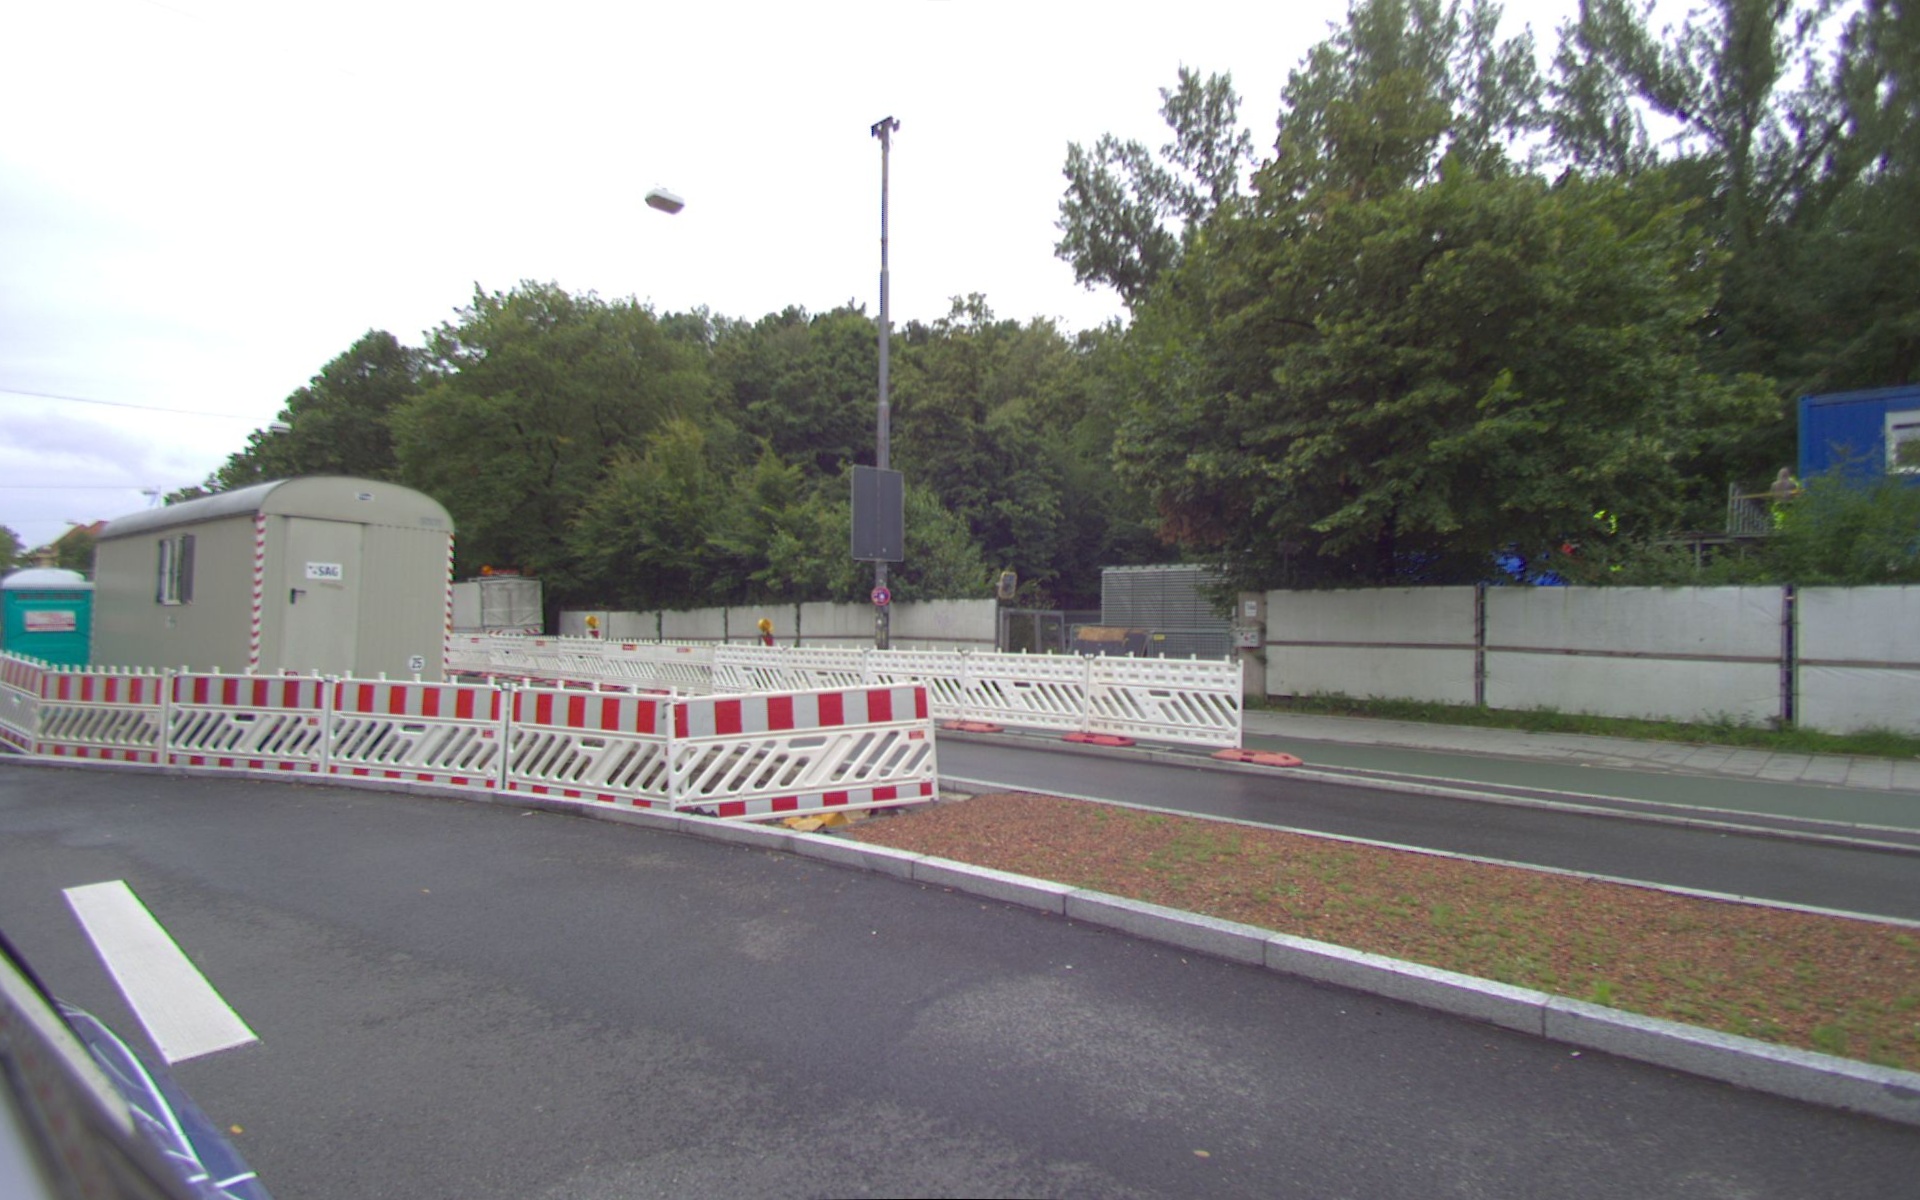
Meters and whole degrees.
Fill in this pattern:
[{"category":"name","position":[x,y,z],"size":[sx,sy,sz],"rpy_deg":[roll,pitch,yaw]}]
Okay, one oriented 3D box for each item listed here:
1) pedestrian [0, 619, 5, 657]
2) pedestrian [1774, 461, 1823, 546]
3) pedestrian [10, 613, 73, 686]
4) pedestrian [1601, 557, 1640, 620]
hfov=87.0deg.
[{"category":"pedestrian","position":[-46.138,1.806,48.046],"size":[0.868,1.850,0.855],"rpy_deg":[-1,-2,19]},{"category":"pedestrian","position":[18.846,-2.148,22.753],"size":[0.795,1.788,0.822],"rpy_deg":[-1,-2,40]},{"category":"pedestrian","position":[-23.729,1.270,26.157],"size":[0.987,1.816,0.808],"rpy_deg":[2,-2,25]},{"category":"pedestrian","position":[19.148,-0.327,29.342],"size":[0.832,1.788,0.786],"rpy_deg":[-1,-2,39]}]
